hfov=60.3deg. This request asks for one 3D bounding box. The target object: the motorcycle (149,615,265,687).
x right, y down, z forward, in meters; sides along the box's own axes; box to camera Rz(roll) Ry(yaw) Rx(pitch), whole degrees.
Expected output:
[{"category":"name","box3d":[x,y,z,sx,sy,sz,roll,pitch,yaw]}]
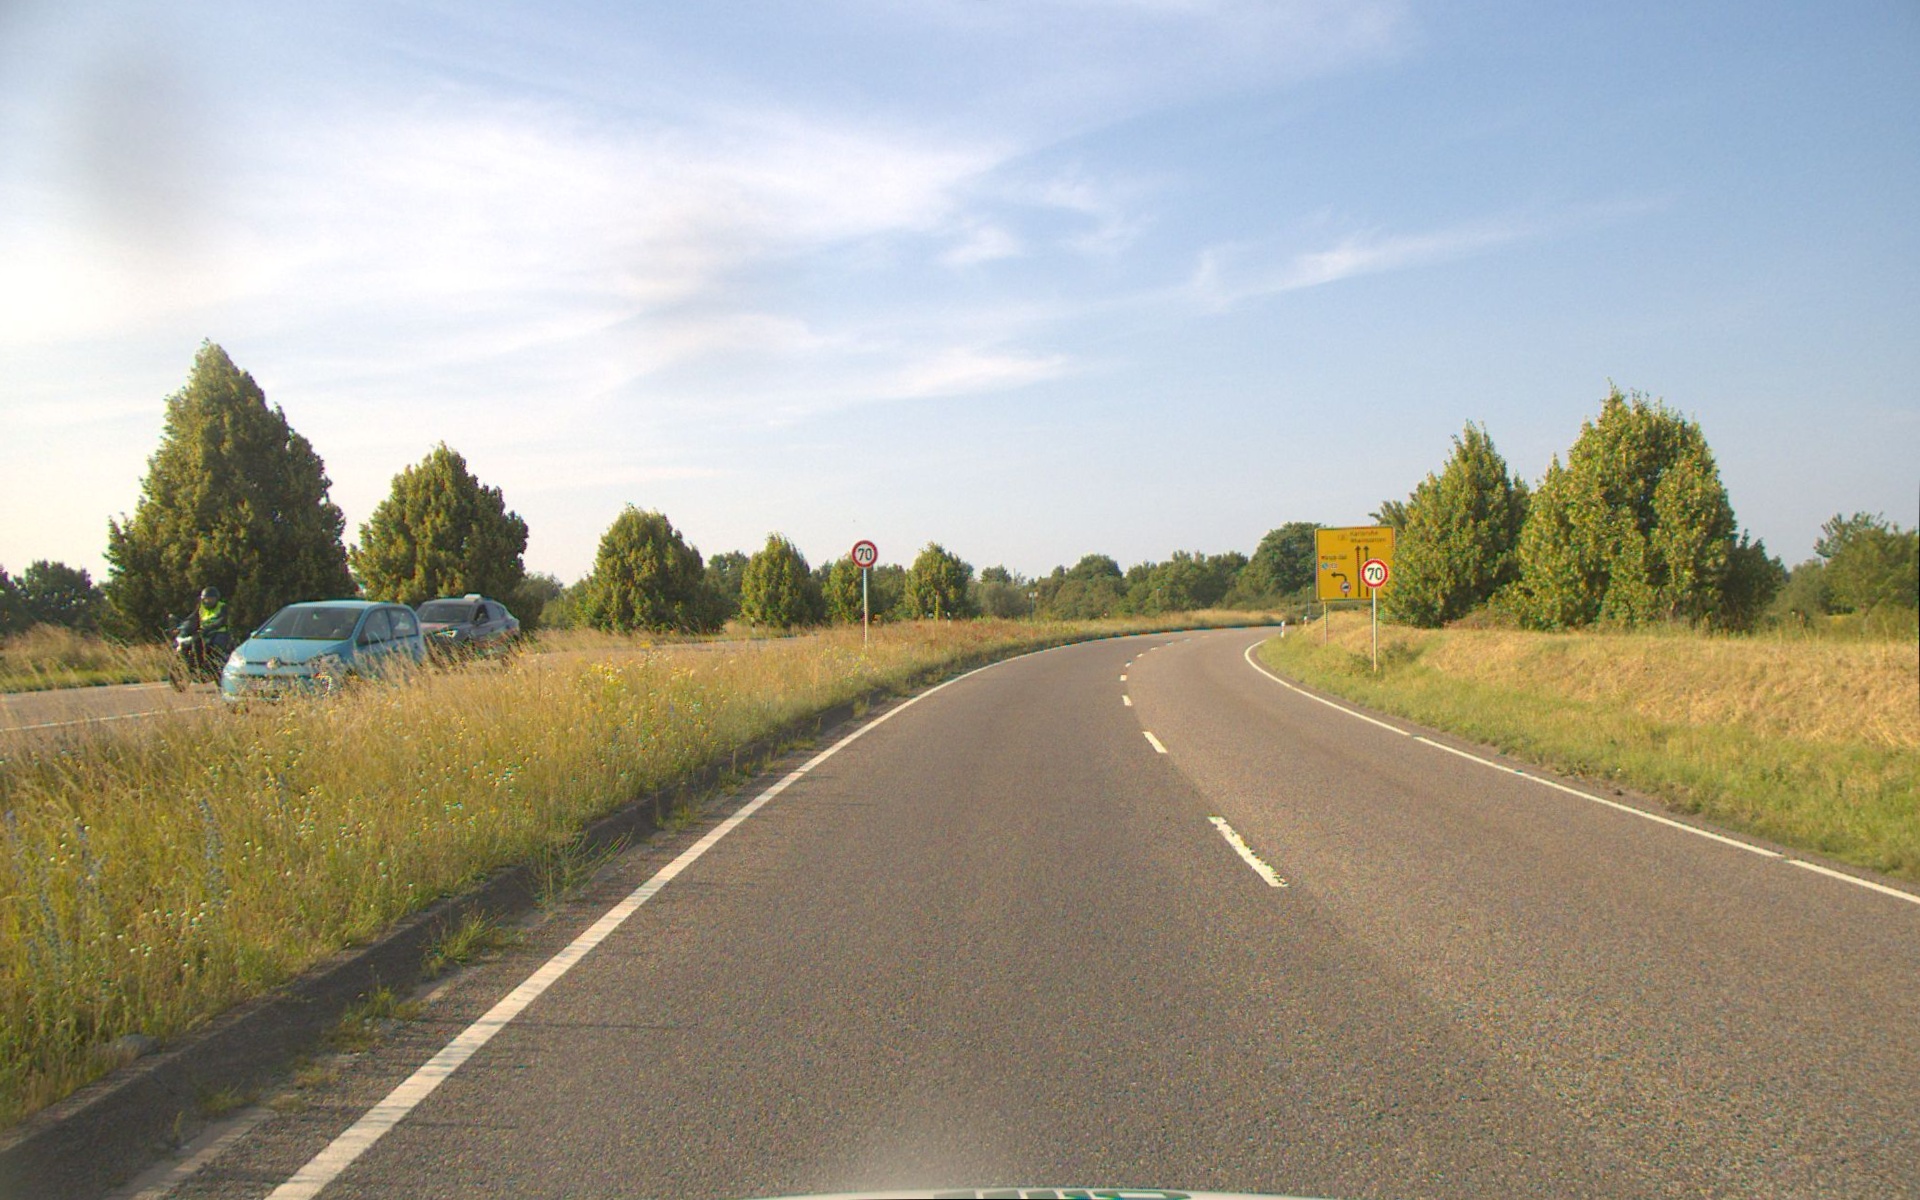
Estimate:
[{"category":"motorcycle","box3d":[-12.329,0.812,27.175,0.736,1.112,2.309,0,0,3]}]

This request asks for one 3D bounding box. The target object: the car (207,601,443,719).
[{"category":"car","box3d":[-8.534,0.764,22.575,1.643,1.469,3.753,0,0,2]}]

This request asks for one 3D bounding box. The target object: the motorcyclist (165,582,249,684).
[{"category":"motorcyclist","box3d":[-12.339,0.530,27.144,0.736,1.632,1.250,0,-1,3]}]

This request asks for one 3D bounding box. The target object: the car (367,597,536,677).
[{"category":"car","box3d":[-10.794,0.747,35.493,1.872,1.593,4.613,0,0,5]}]
